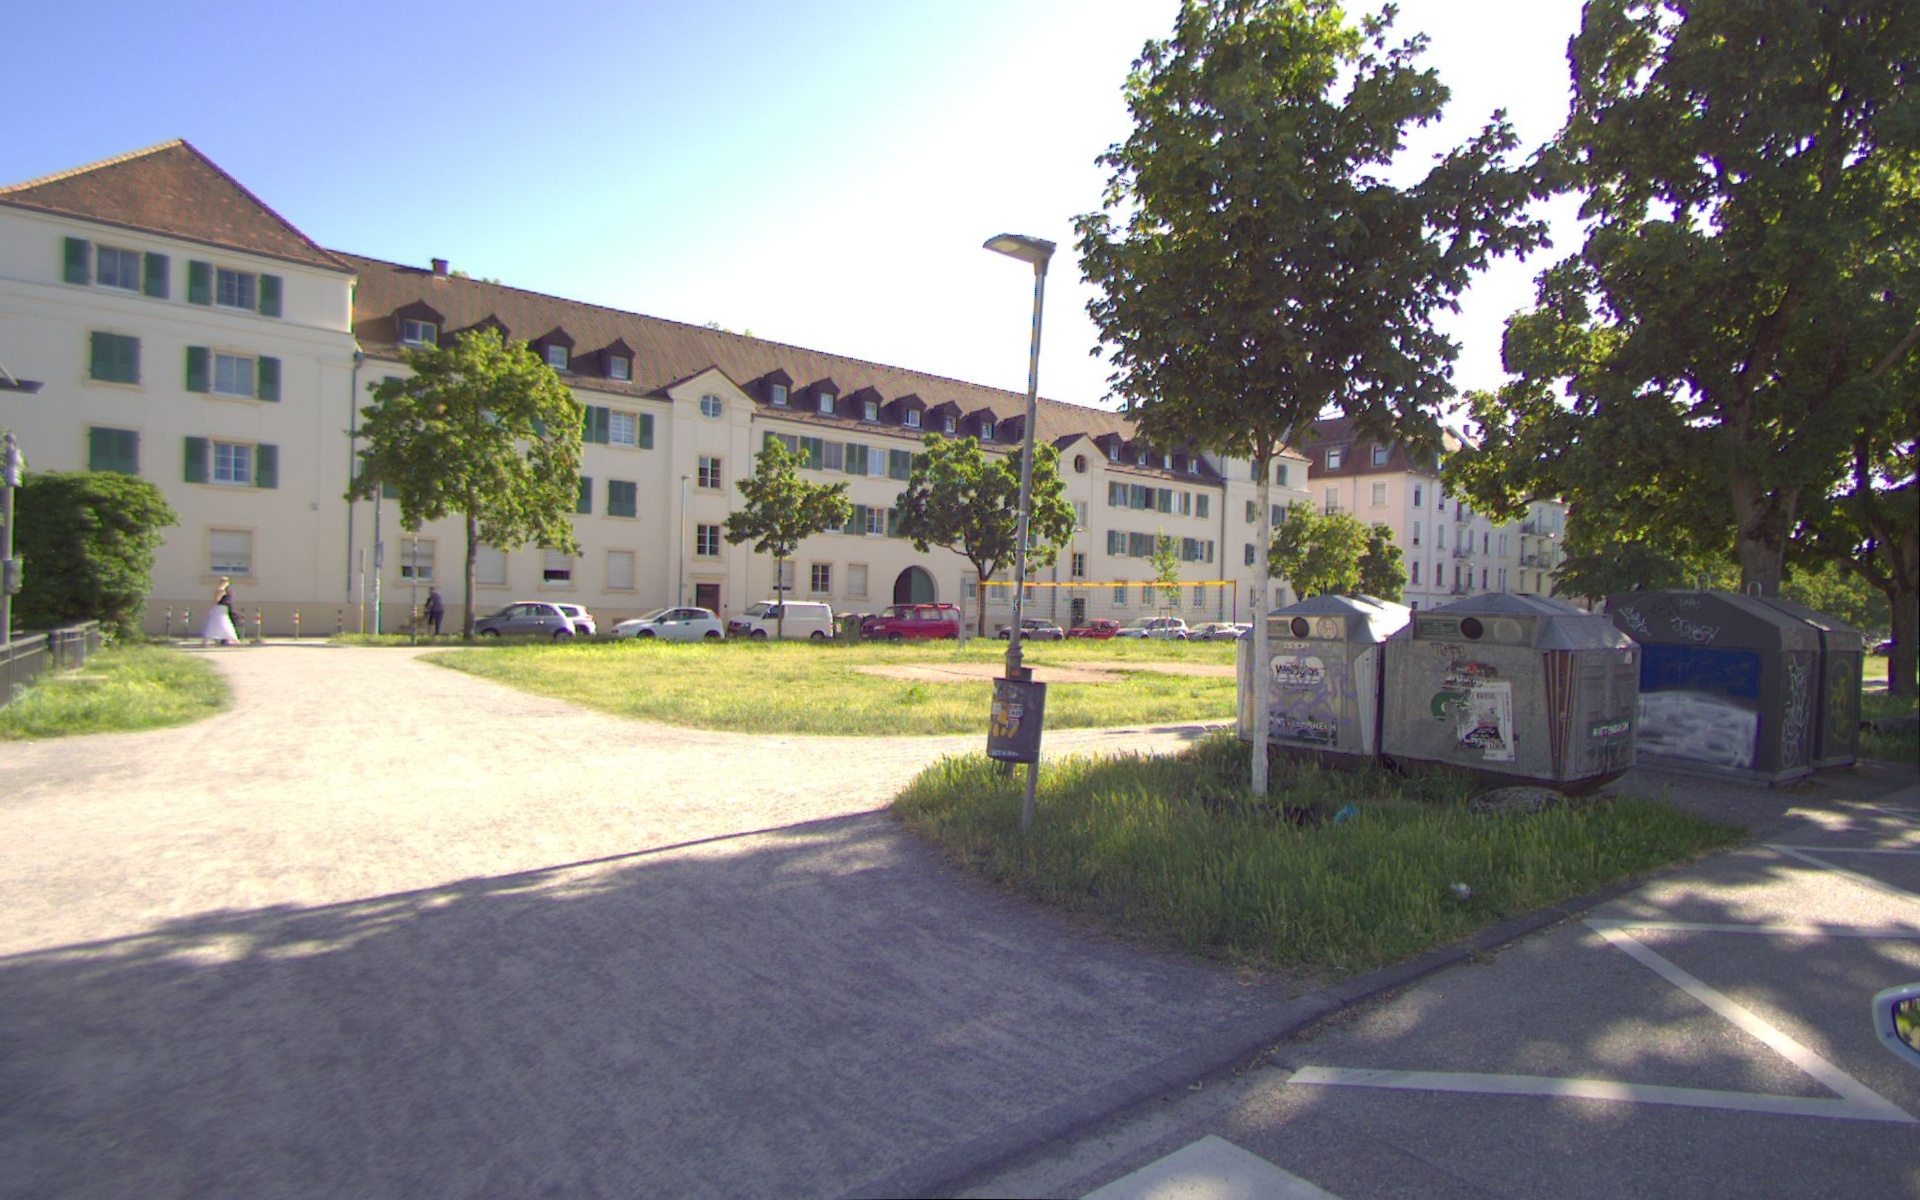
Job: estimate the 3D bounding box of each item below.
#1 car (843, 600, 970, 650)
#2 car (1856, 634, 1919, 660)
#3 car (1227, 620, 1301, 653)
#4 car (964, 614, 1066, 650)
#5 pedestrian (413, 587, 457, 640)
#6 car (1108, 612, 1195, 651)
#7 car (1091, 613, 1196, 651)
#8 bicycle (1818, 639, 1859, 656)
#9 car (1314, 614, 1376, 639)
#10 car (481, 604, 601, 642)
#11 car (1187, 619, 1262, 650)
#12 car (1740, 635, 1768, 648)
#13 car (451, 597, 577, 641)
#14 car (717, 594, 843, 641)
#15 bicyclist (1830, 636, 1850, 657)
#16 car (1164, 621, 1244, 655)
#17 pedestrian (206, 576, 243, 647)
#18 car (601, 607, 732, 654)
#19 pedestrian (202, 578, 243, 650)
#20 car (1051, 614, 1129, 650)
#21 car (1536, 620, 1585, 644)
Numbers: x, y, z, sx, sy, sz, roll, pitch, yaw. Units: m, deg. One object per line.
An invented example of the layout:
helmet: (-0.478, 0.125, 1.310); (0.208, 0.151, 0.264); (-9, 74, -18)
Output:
car: (-2.258, 1.069, 43.393); (5.215, 2.011, 2.202); (2, -1, -40)
car: (60.466, 3.024, 64.263); (4.269, 1.428, 1.917); (1, 1, 29)
car: (18.050, 2.154, 59.599); (4.223, 1.844, 2.217); (2, -1, -40)
car: (3.038, 1.754, 54.735); (5.208, 1.844, 2.433); (2, -1, -37)
pedestrian: (-20.290, 0.528, 38.836); (1.155, 1.989, 1.327); (2, -1, -43)
car: (11.833, 1.931, 61.887); (5.215, 2.245, 2.510); (2, -1, -40)
car: (9.725, 1.700, 52.970); (5.402, 1.844, 2.433); (2, -1, -37)
bicycle: (60.032, 3.231, 68.658); (1.944, 1.030, 0.658); (2, 0, 26)
car: (33.472, 2.273, 87.368); (2.124, 2.040, 4.522); (2, 0, -40)
car: (-16.224, 0.910, 39.004); (3.965, 1.374, 1.755); (2, -1, -39)
car: (17.465, 2.253, 66.219); (5.113, 1.911, 2.137); (2, -1, -38)
car: (96.686, 5.090, 122.256); (3.740, 1.459, 1.832); (2, -1, -38)
car: (-14.635, 0.622, 33.002); (3.485, 1.350, 1.637); (2, -1, -39)
car: (-8.103, 0.823, 45.583); (5.215, 2.011, 2.202); (2, -1, -40)
bicyclist: (60.157, 3.173, 68.649); (0.861, 1.381, 0.623); (0, -6, 26)
car: (13.645, 2.110, 56.085); (3.971, 1.773, 2.301); (2, -1, -37)
pedestrian: (-18.093, 0.287, 24.710); (0.666, 1.707, 0.540); (2, 0, -33)
car: (-10.605, 1.103, 36.444); (4.199, 1.604, 1.774); (2, -1, -39)
pedestrian: (-17.710, 0.338, 24.124); (0.742, 1.707, 0.540); (2, 0, -36)
car: (7.545, 1.865, 58.274); (4.132, 1.930, 2.245); (2, -1, -39)
car: (51.789, 2.771, 86.561); (5.058, 1.897, 2.064); (2, -1, -41)
